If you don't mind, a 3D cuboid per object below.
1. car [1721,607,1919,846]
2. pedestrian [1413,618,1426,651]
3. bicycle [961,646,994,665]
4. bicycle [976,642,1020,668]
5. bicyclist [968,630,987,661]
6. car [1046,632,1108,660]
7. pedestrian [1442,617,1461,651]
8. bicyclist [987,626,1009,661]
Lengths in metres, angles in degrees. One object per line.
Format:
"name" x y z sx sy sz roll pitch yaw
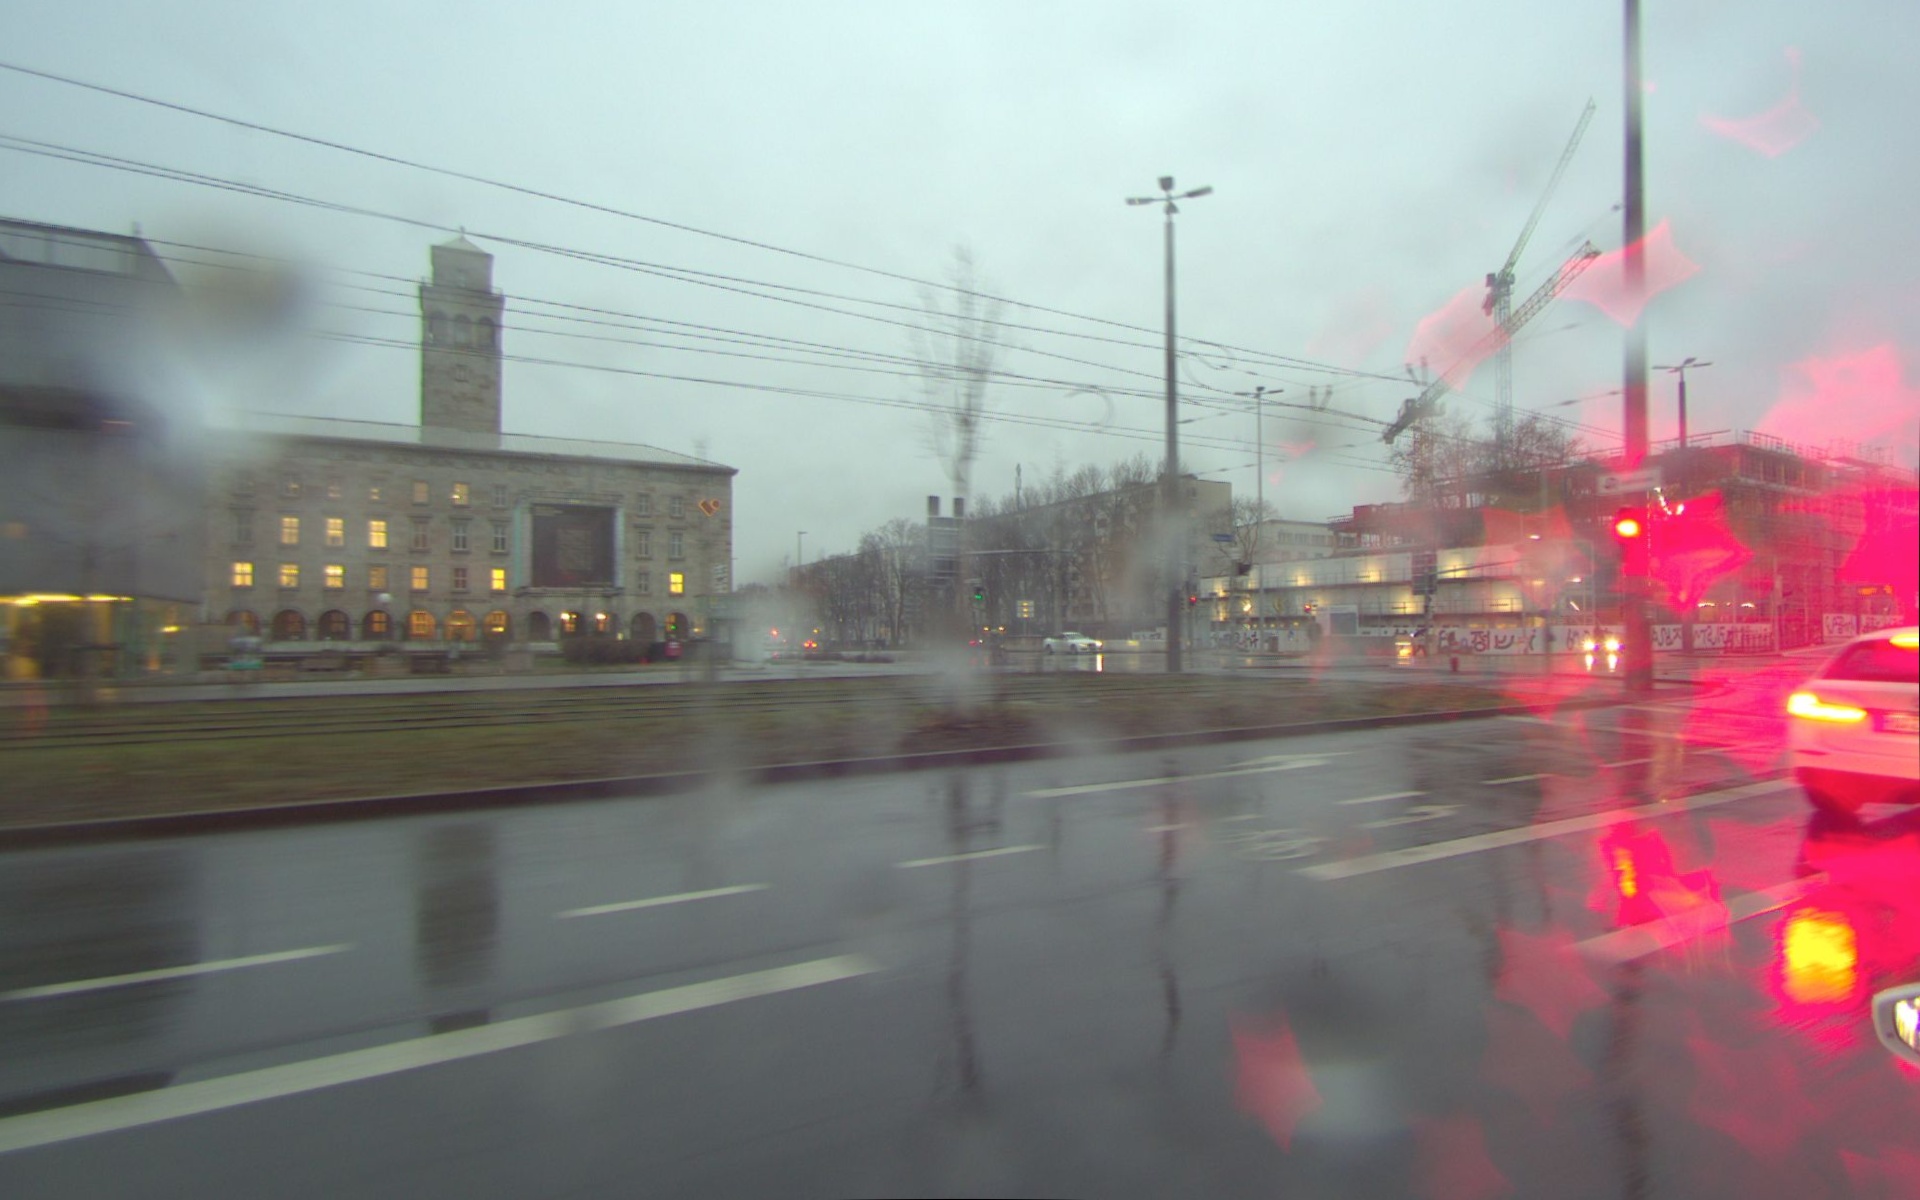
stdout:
"car" 8.215 0.858 7.861 4.866 1.540 1.900 1 -2 -31
"pedestrian" 28.639 2.158 62.608 0.635 2.039 0.503 5 -6 -39
"bicycle" 0.992 3.155 57.387 0.611 1.046 2.357 1 -2 -35
"bicycle" 2.032 2.954 54.071 0.714 1.380 2.810 1 -3 -37
"bicyclist" 0.996 2.593 57.406 0.611 1.719 1.026 1 -2 -35
"car" 7.452 2.912 64.267 1.978 1.706 3.967 1 -2 -31
"pedestrian" 30.240 2.096 61.819 0.741 2.039 0.786 5 -5 -38
"bicyclist" 2.024 2.348 54.025 0.714 1.863 0.986 1 -3 -38
